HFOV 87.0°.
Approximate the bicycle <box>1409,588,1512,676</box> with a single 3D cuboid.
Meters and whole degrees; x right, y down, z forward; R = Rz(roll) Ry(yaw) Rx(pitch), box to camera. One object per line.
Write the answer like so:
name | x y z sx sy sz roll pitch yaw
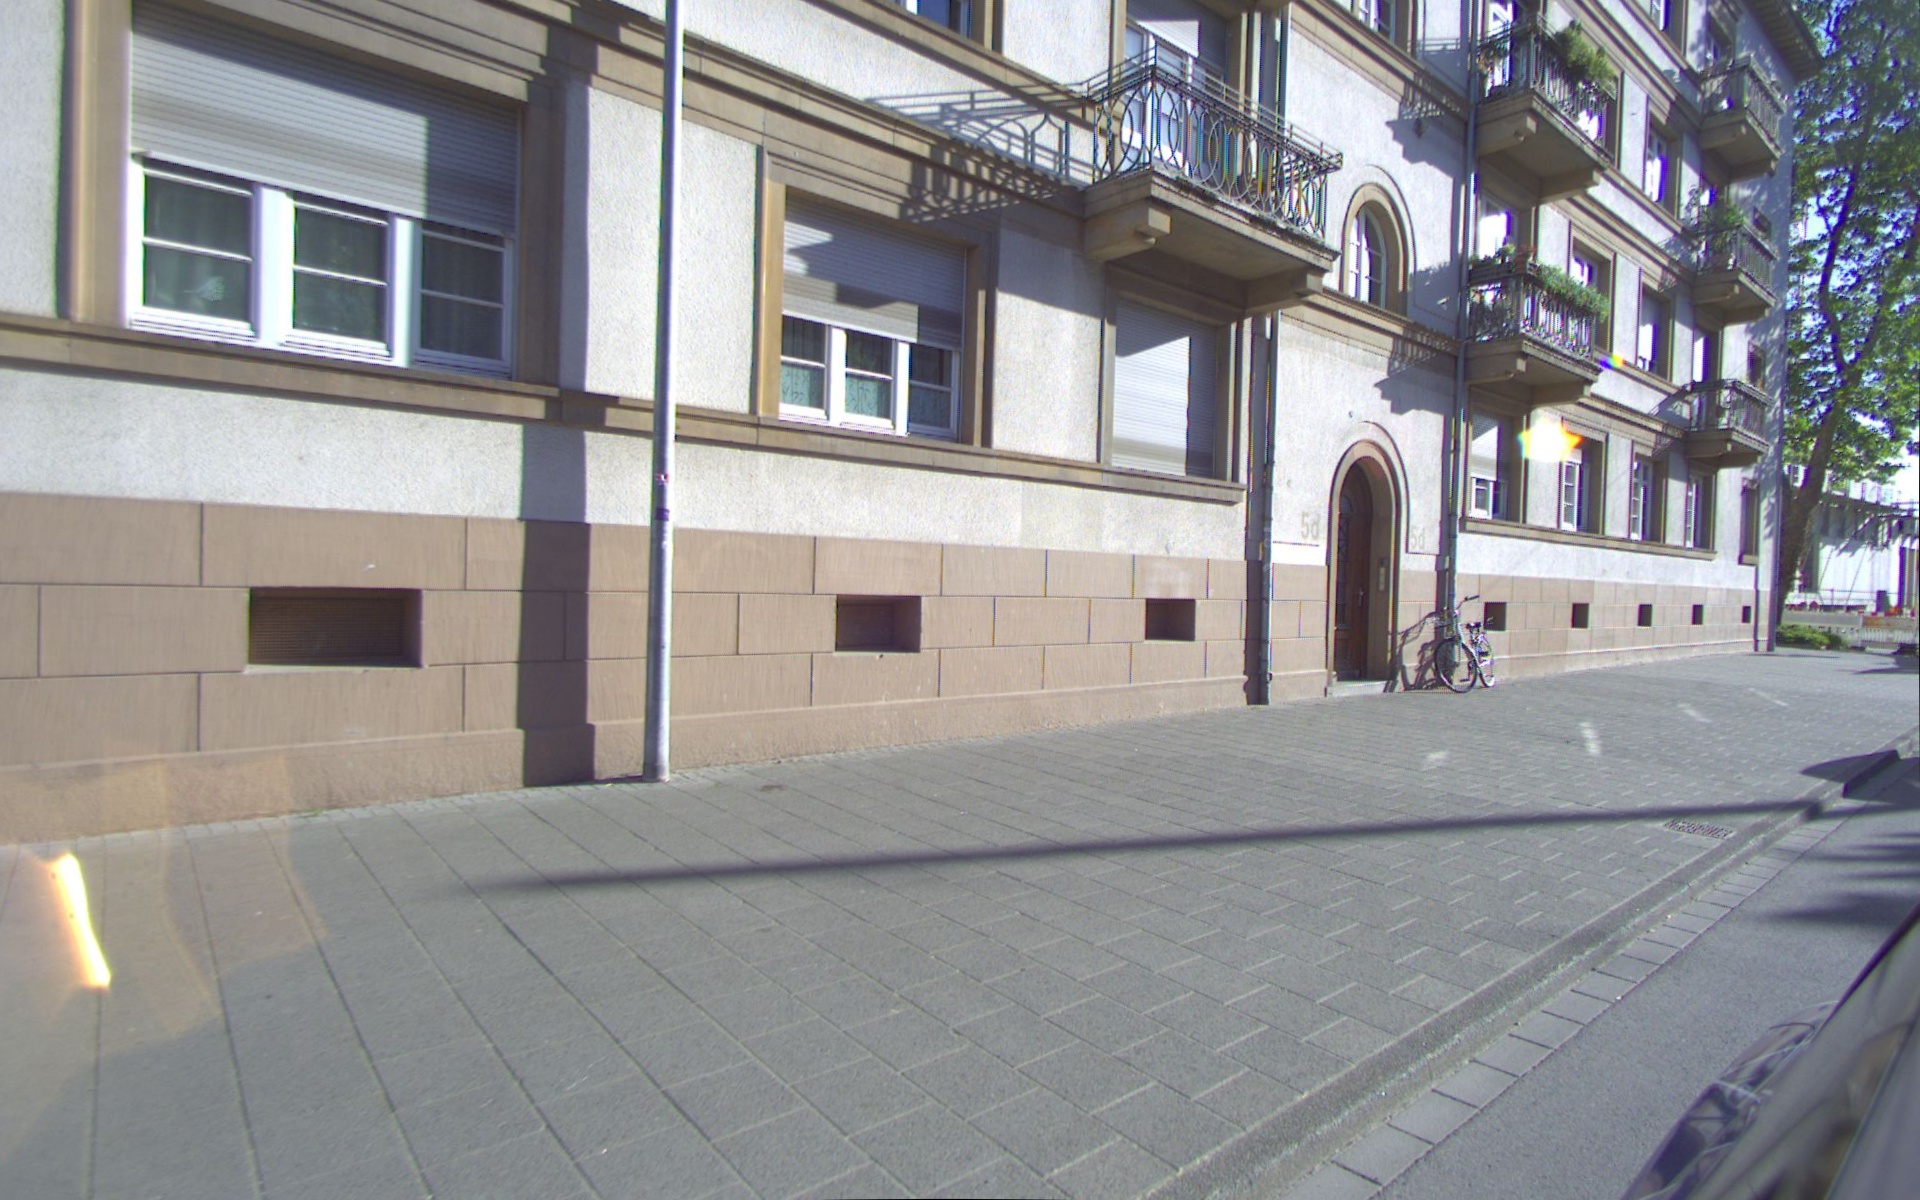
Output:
bicycle | 6.784 0.401 13.664 2.159 1.109 0.419 0 2 -41
